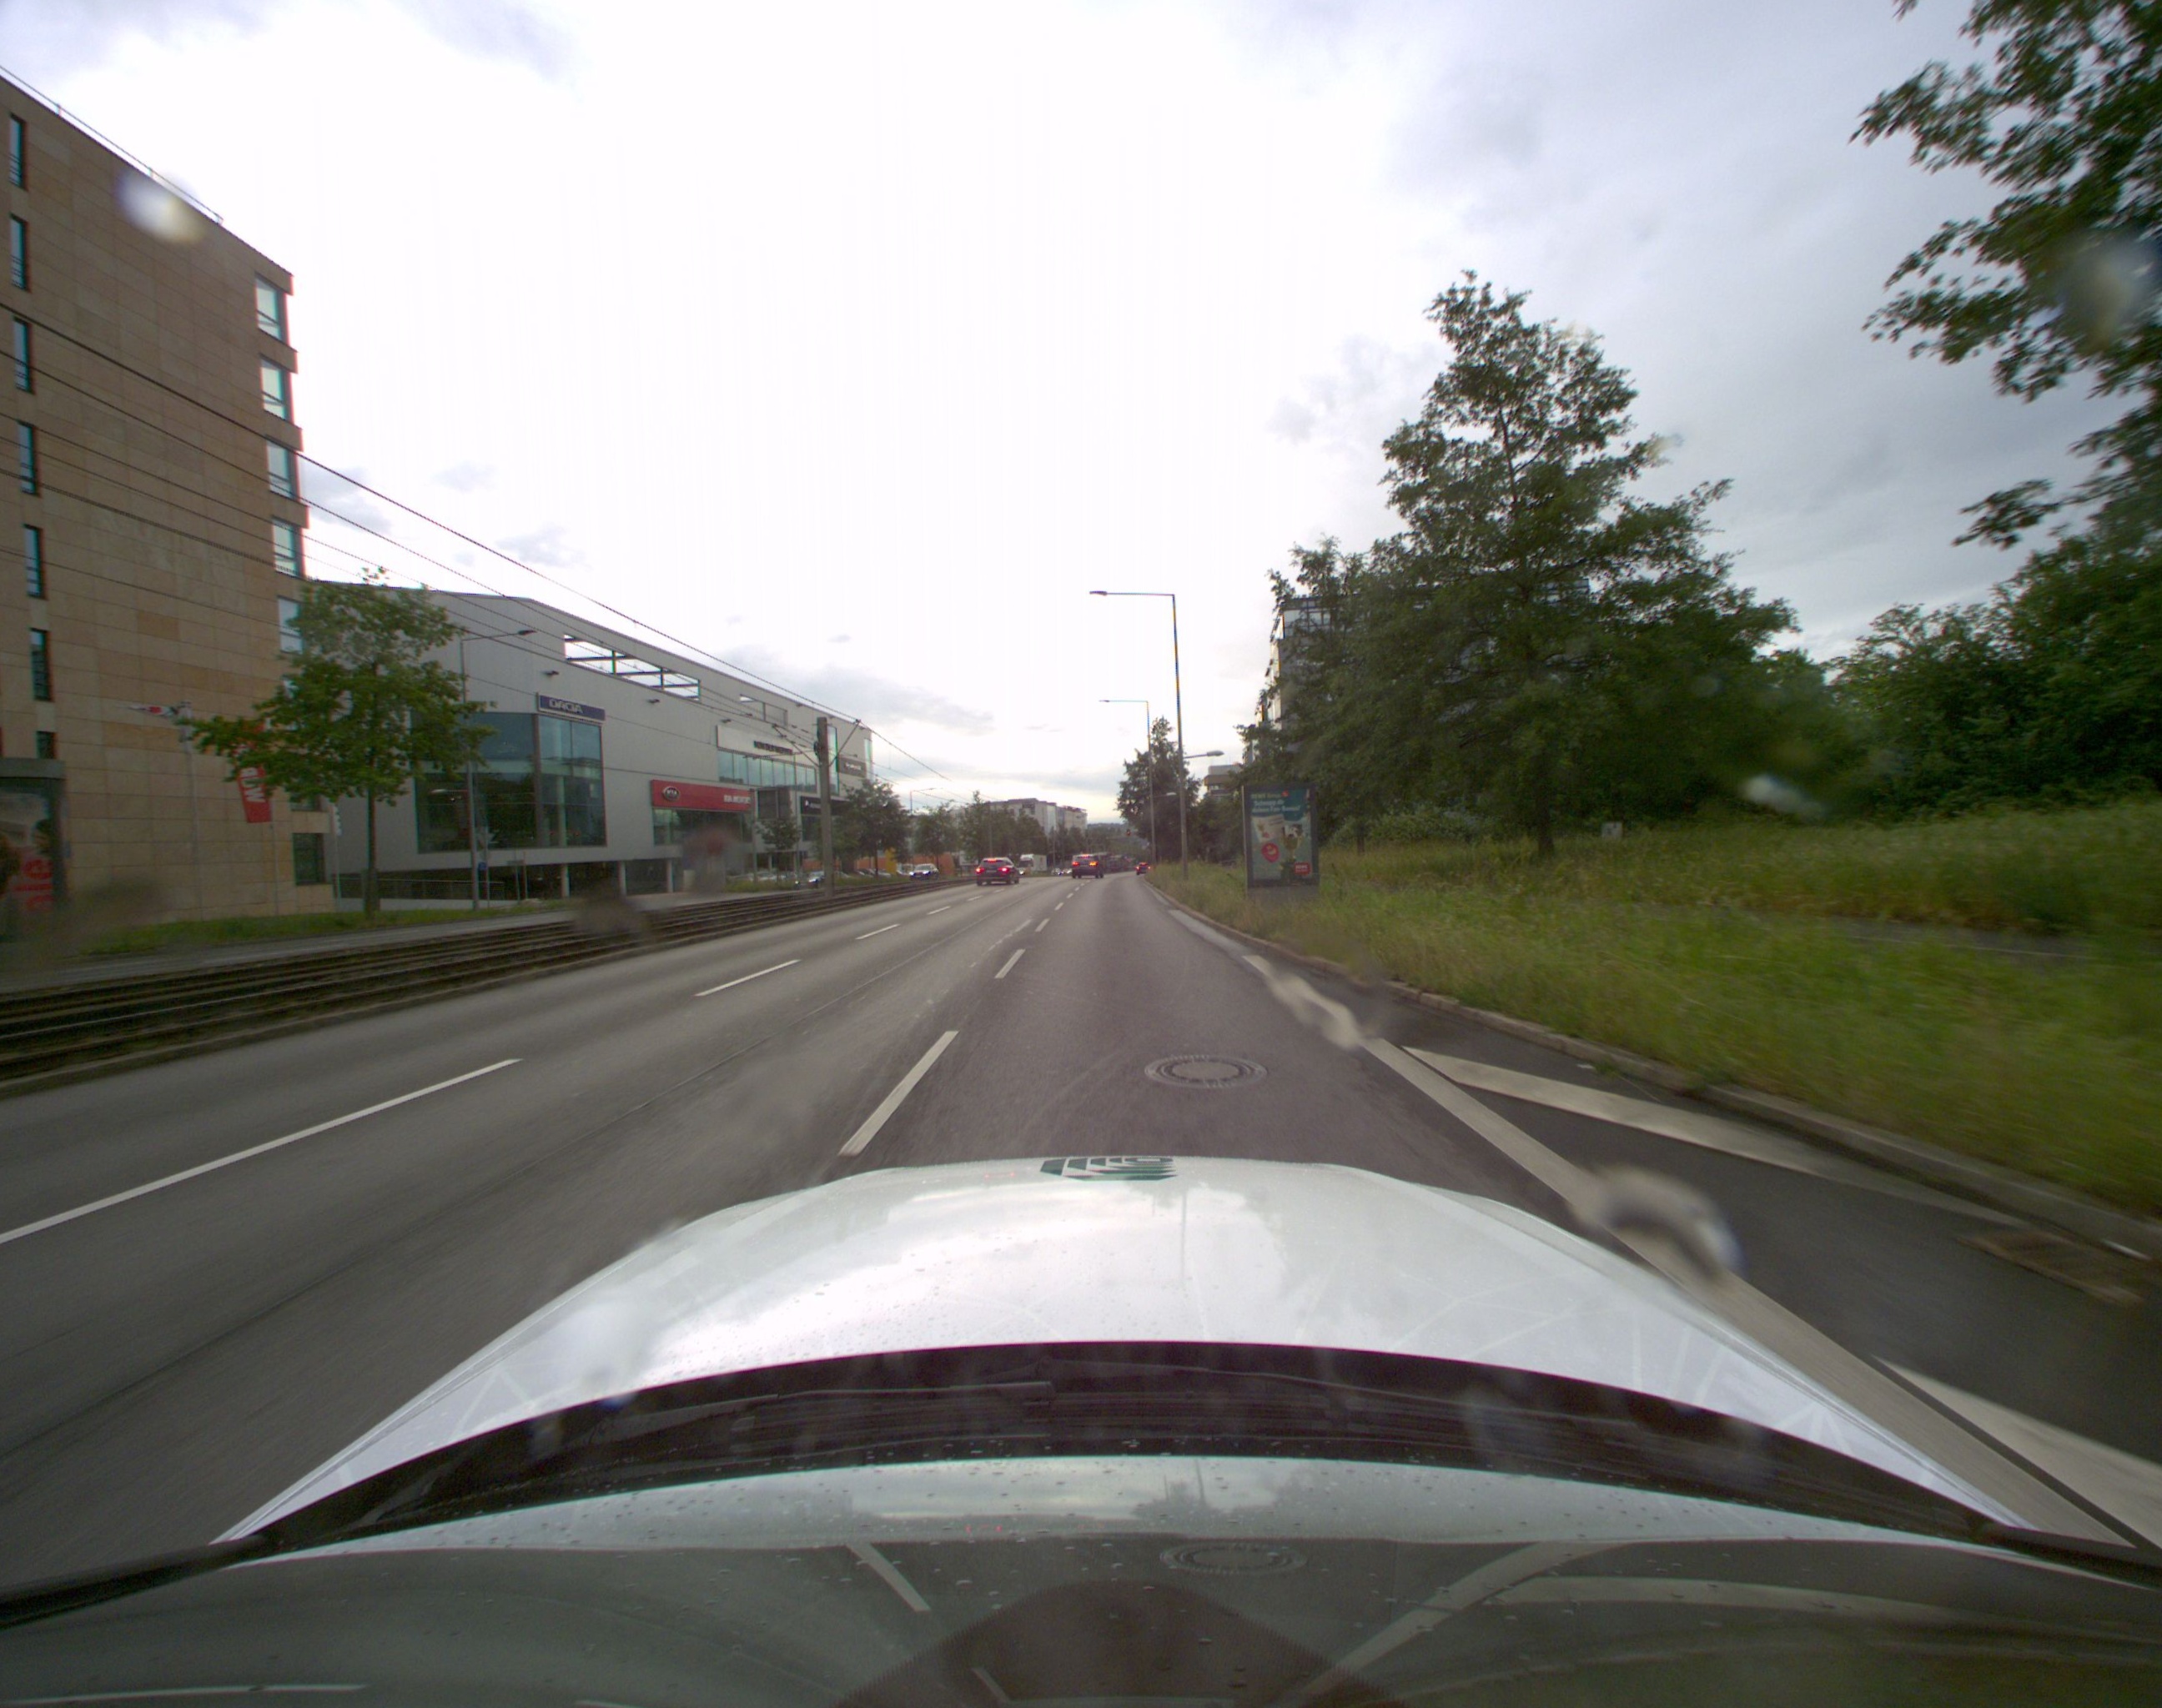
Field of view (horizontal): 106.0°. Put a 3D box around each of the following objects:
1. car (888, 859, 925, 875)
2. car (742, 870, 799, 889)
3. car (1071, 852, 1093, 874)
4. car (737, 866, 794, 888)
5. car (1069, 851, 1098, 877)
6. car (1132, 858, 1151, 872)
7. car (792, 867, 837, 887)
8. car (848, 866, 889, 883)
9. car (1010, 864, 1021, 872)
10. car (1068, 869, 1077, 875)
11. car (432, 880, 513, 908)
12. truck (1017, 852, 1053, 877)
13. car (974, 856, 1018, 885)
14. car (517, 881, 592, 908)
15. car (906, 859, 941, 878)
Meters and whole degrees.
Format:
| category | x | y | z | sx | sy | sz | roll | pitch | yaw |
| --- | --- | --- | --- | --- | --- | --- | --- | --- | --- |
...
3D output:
| category | x | y | z | sx | sy | sz | roll | pitch | yaw |
| --- | --- | --- | --- | --- | --- | --- | --- | --- | --- |
| car | -26.657 | 2.006 | 124.552 | 5.291 | 2.313 | 2.017 | -1 | -2 | -3 |
| car | -31.008 | 2.571 | 81.456 | 5.010 | 1.654 | 2.010 | -2 | -1 | -15 |
| car | 0.102 | 0.972 | 90.401 | 2.259 | 2.285 | 4.761 | -1 | 0 | 1 |
| car | -29.228 | 2.105 | 75.546 | 4.630 | 1.827 | 2.010 | -2 | -1 | -15 |
| car | 0.183 | 0.647 | 57.085 | 1.916 | 1.710 | 4.097 | -1 | 0 | 0 |
| car | 7.162 | 1.295 | 97.291 | 1.784 | 1.591 | 3.997 | -3 | 0 | -2 |
| car | -20.106 | 1.744 | 61.605 | 1.660 | 1.462 | 4.243 | -1 | -2 | 4 |
| car | -27.535 | 2.702 | 105.608 | 4.587 | 1.976 | 2.019 | -2 | -1 | -1 |
| car | -13.940 | 2.996 | 172.494 | 1.660 | 1.462 | 4.243 | -1 | -2 | 4 |
| car | -2.120 | 4.239 | 195.669 | 1.653 | 1.442 | 3.904 | -1 | -2 | 7 |
| car | -43.240 | 2.785 | 58.008 | 1.987 | 1.792 | 4.940 | -1 | -1 | 0 |
| truck | -8.301 | 1.830 | 150.055 | 3.025 | 4.181 | 17.240 | -1 | 0 | 8 |
| car | -4.478 | 0.816 | 43.478 | 1.780 | 1.413 | 4.805 | -1 | 0 | 0 |
| car | -37.744 | 2.887 | 58.511 | 1.985 | 1.725 | 4.943 | -1 | -1 | 2 |
| car | -13.983 | 1.334 | 72.502 | 1.796 | 1.616 | 4.393 | -1 | -2 | 6 |
